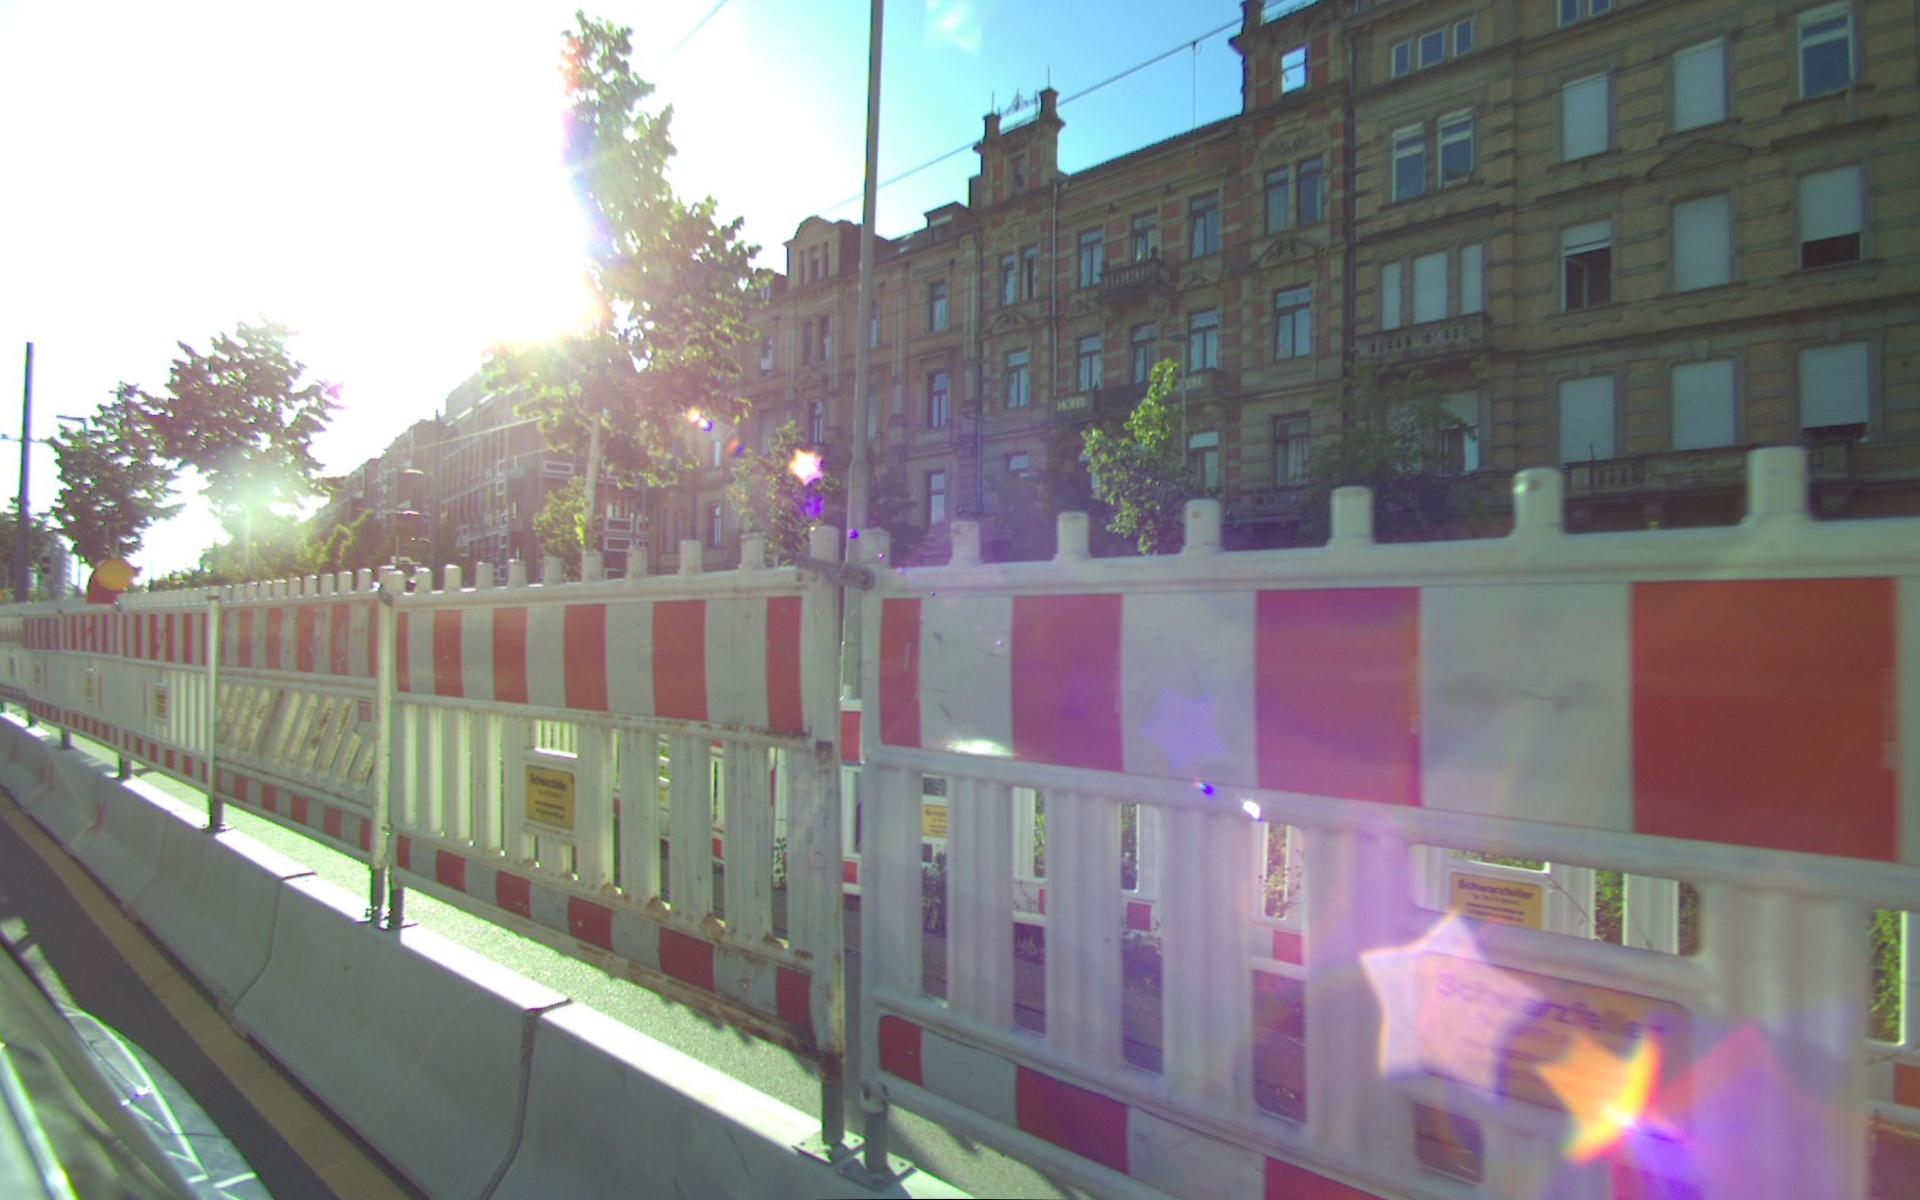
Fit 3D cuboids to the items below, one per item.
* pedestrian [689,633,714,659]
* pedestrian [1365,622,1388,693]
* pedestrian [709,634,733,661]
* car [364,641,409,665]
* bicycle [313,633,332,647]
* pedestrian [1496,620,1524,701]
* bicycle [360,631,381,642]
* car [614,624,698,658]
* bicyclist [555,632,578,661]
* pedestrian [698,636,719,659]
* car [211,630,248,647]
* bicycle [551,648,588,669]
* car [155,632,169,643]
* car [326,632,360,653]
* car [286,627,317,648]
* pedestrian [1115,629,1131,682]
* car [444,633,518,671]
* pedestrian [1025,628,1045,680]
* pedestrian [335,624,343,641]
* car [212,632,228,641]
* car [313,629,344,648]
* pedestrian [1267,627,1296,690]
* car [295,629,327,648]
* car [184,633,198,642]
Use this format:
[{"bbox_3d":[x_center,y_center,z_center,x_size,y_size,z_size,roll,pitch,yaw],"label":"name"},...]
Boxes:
[{"bbox_3d":[-12.306,2.202,48.188,0.929,1.217,0.782,-1,-3,43],"label":"pedestrian"},{"bbox_3d":[10.551,1.448,25.638,0.406,1.778,0.363,-1,-1,42],"label":"pedestrian"},{"bbox_3d":[-11.244,2.234,47.677,0.929,1.217,0.682,-1,-3,43],"label":"pedestrian"},{"bbox_3d":[-38.779,3.539,68.380,1.710,1.472,3.902,-1,-1,-45],"label":"car"},{"bbox_3d":[-46.074,2.903,73.134,1.827,0.985,0.687,-1,-3,43],"label":"bicycle"},{"bbox_3d":[12.293,1.334,22.616,0.406,1.778,0.502,-1,-1,42],"label":"pedestrian"},{"bbox_3d":[-60.715,3.787,104.224,1.849,1.080,0.426,3,-3,-36],"label":"bicycle"},{"bbox_3d":[-17.882,2.449,59.672,1.895,1.918,4.467,-1,-3,37],"label":"car"},{"bbox_3d":[-16.912,1.989,43.499,0.738,1.249,0.630,-2,-3,43],"label":"bicyclist"},{"bbox_3d":[-12.324,2.321,49.620,0.736,1.067,0.682,-1,-3,43],"label":"pedestrian"},{"bbox_3d":[-63.141,3.320,87.493,4.069,1.431,1.833,-2,-1,43],"label":"car"},{"bbox_3d":[-16.701,2.491,43.293,2.031,0.864,0.630,-2,-3,43],"label":"bicycle"},{"bbox_3d":[-139.117,6.531,176.407,1.707,1.760,4.126,2,-3,-42],"label":"car"},{"bbox_3d":[-47.383,3.235,77.690,1.628,1.566,3.972,2,-3,-40],"label":"car"},{"bbox_3d":[-58.024,3.335,89.171,1.729,1.785,4.337,1,-2,-40],"label":"car"},{"bbox_3d":[4.977,1.695,30.876,0.401,1.597,0.367,-1,-1,3],"label":"pedestrian"},{"bbox_3d":[-20.018,2.133,42.238,3.623,1.494,1.577,-2,-3,43],"label":"car"},{"bbox_3d":[2.370,1.701,31.993,0.425,1.597,0.399,-1,-1,42],"label":"pedestrian"},{"bbox_3d":[-63.527,3.289,103.527,0.513,1.735,0.537,3,-3,-37],"label":"pedestrian"},{"bbox_3d":[-119.504,5.927,163.428,1.694,1.398,4.046,3,-3,-40],"label":"car"},{"bbox_3d":[-51.103,3.121,81.876,1.604,1.452,3.824,1,-2,-40],"label":"car"},{"bbox_3d":[8.288,1.495,26.064,0.533,1.597,0.481,-1,-1,42],"label":"pedestrian"},{"bbox_3d":[-54.655,3.220,85.196,1.716,1.548,3.890,1,-2,-40],"label":"car"},{"bbox_3d":[-127.788,6.185,168.124,1.607,1.507,3.786,3,-3,-40],"label":"car"}]
